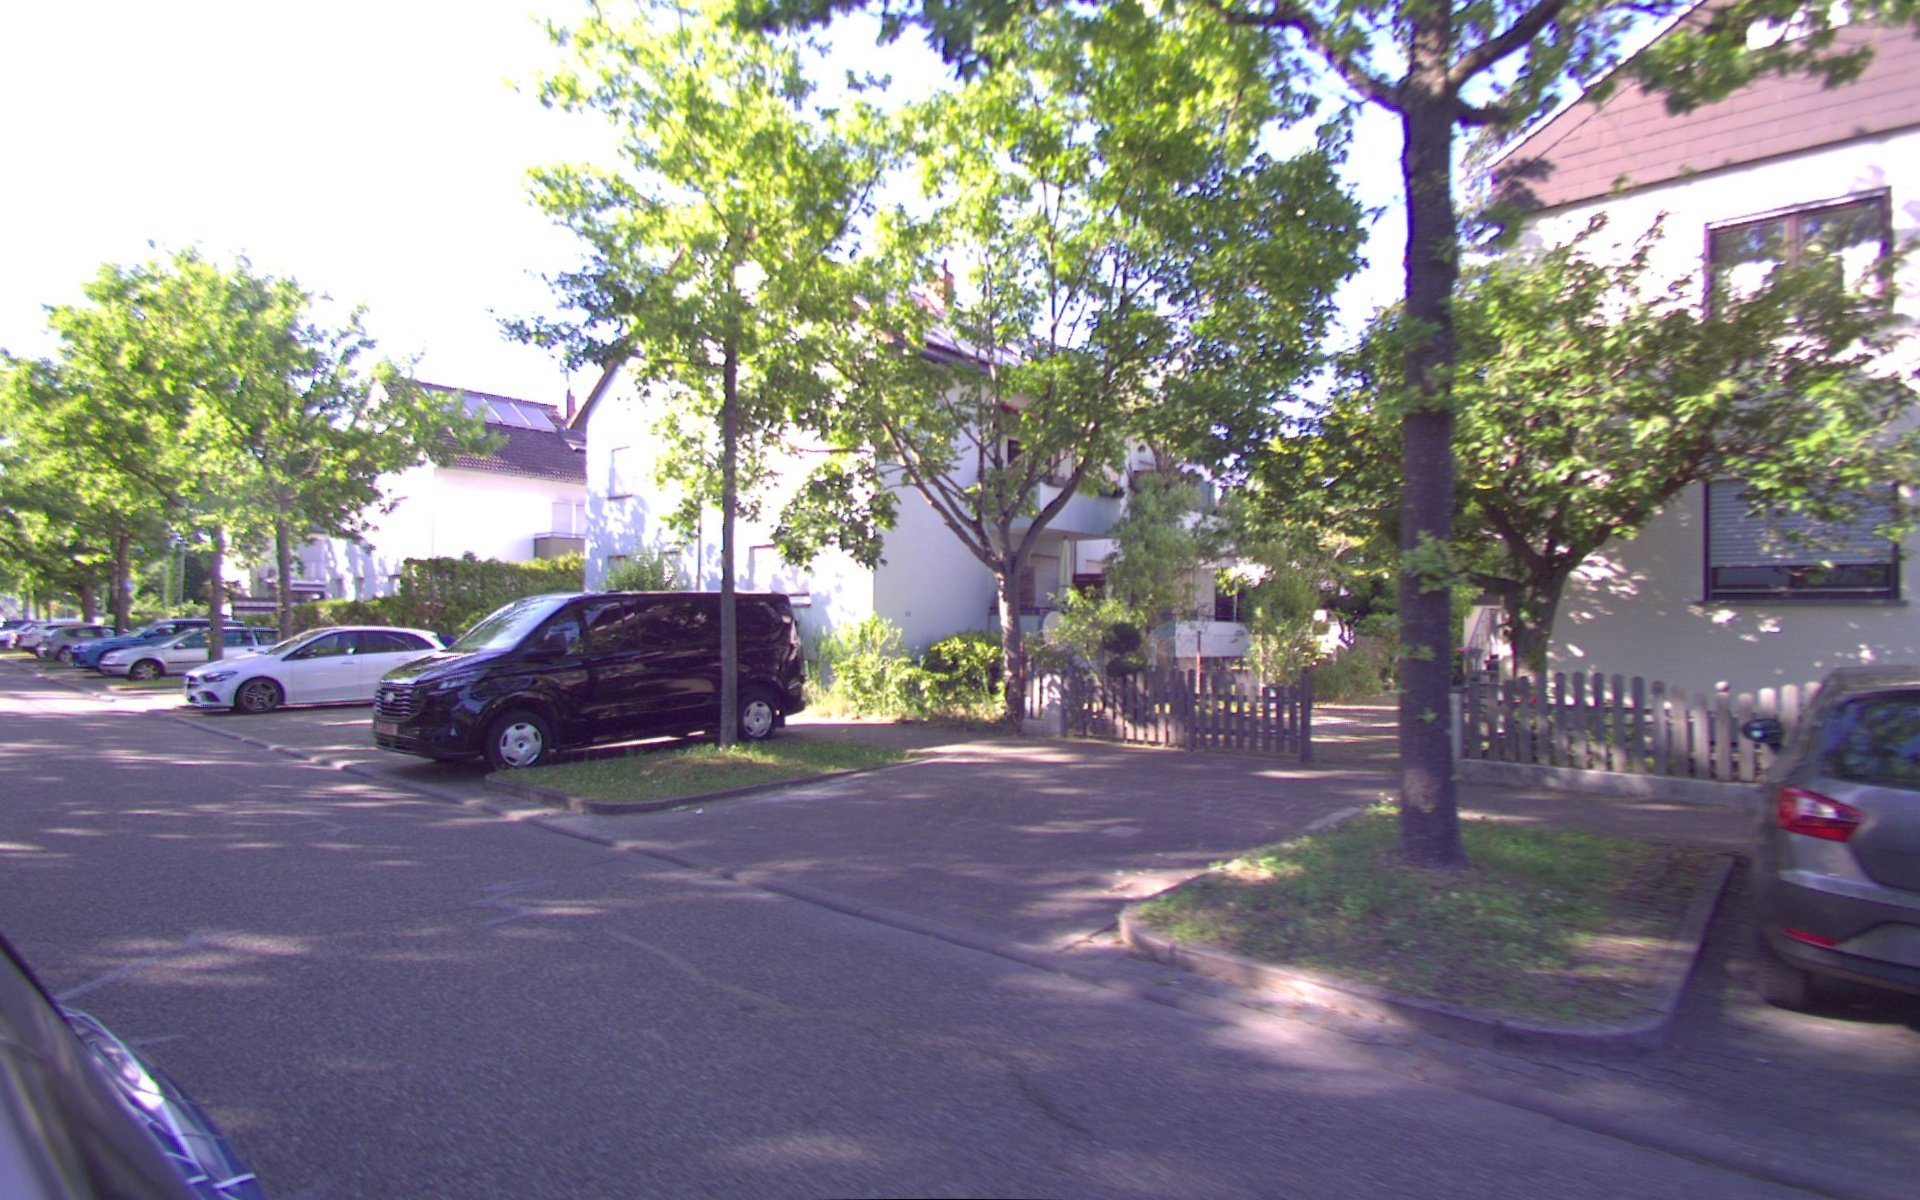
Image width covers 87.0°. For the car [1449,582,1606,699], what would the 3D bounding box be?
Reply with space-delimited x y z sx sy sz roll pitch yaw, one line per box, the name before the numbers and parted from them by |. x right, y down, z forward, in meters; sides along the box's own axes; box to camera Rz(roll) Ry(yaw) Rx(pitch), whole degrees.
car | 13.135 0.909 23.319 4.323 2.444 2.029 3 -2 -44

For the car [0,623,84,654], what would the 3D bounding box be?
car | -56.601 2.313 62.041 1.967 1.783 4.194 -1 -1 41

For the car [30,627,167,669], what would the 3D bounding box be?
car | -34.536 1.882 40.622 1.810 1.434 3.991 -1 0 42

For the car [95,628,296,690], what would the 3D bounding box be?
car | -20.654 1.542 27.479 1.647 1.503 4.137 -1 -1 43

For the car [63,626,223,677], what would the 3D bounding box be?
car | -27.448 1.707 34.072 1.858 1.608 3.942 -1 -3 43

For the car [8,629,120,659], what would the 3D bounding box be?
car | -45.454 2.229 51.376 4.161 1.483 1.692 2 -3 -44

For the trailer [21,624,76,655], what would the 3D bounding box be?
trailer | -51.266 2.224 56.939 2.208 1.686 1.476 2 -3 -42

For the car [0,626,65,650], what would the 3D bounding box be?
car | -62.028 2.495 66.682 1.836 1.511 4.428 -1 -3 42

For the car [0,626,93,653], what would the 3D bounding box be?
car | -52.963 2.289 58.579 1.690 1.528 3.945 -1 -3 41

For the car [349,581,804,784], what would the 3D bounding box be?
car | -4.338 0.832 12.116 2.017 1.931 4.729 -2 -2 41

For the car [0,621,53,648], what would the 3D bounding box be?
car | -64.294 2.324 68.169 1.796 1.782 4.621 -2 -1 44

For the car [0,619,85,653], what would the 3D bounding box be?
car | -54.987 2.178 60.181 1.999 1.959 4.191 -1 -3 41

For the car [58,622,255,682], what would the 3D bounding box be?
car | -24.199 1.503 30.595 1.938 1.643 4.473 -1 -1 44

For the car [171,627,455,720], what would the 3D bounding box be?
car | -12.093 1.284 19.120 1.769 1.489 4.229 -1 -1 43

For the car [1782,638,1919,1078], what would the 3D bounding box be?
car | 4.916 0.932 4.564 1.771 1.430 3.779 -1 -1 41

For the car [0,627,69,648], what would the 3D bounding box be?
car | -65.477 2.655 70.982 1.720 1.435 4.233 -1 -3 36

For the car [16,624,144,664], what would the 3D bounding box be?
car | -38.445 1.898 44.284 1.793 1.579 4.139 -2 -1 45
